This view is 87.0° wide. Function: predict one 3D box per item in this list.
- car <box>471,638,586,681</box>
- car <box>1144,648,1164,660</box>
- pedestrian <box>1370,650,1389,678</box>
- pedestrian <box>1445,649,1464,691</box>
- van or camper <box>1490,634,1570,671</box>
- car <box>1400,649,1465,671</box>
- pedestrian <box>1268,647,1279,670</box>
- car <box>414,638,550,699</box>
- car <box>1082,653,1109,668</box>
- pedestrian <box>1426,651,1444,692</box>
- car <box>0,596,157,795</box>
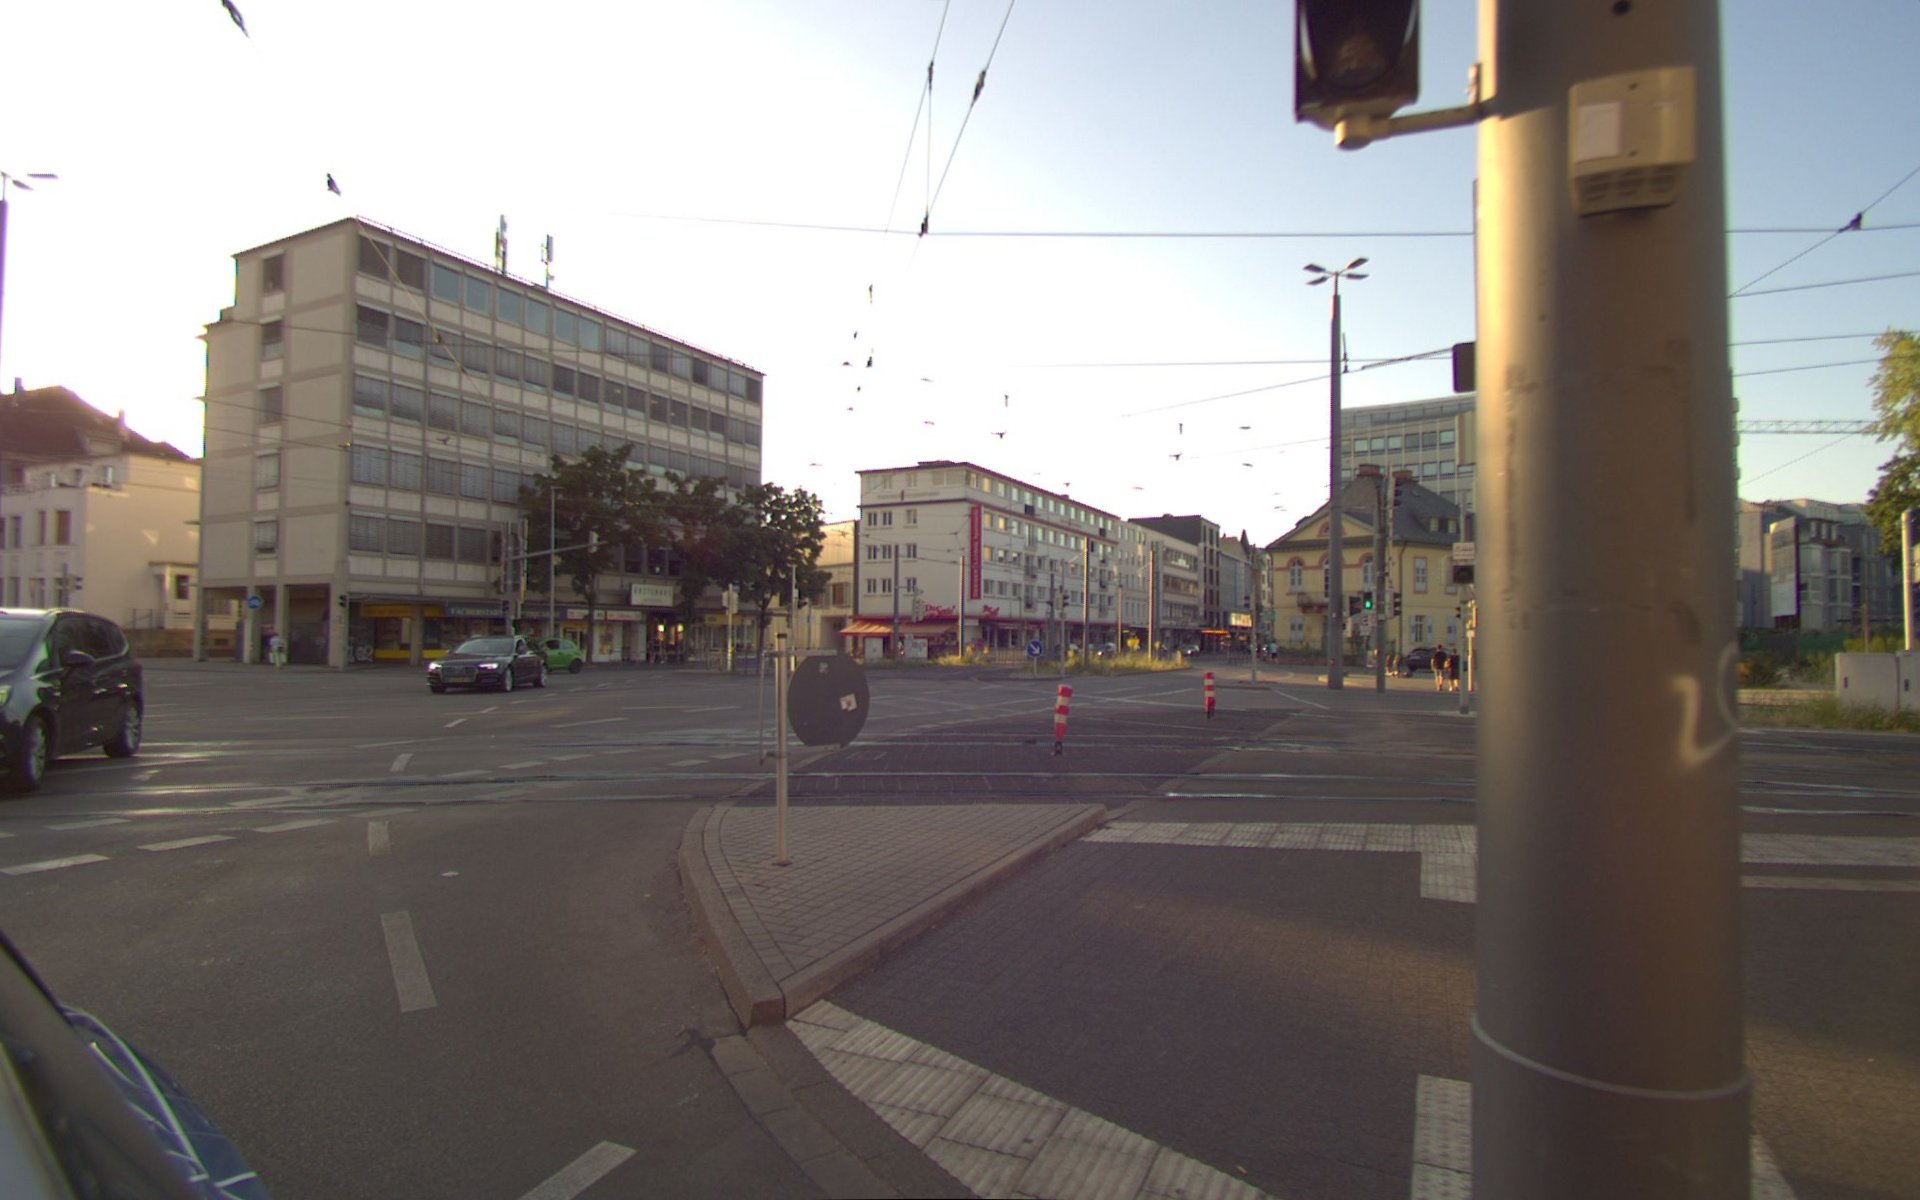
[{"bbox_3d":[-16.728,2.275,39.438,1.738,1.578,3.991,-1,-3,24],"label":"car"},{"bbox_3d":[21.756,6.094,113.584,1.557,1.286,3.396,-1,-3,23],"label":"car"},{"bbox_3d":[20.573,3.123,49.668,0.580,1.351,0.657,1,-1,-23],"label":"pedestrian"},{"bbox_3d":[18.370,2.599,37.581,0.587,1.522,0.649,-1,-4,27],"label":"pedestrian"},{"bbox_3d":[37.376,3.413,66.367,5.027,2.319,2.006,1,-3,-26],"label":"van or camper"},{"bbox_3d":[28.574,3.639,61.180,3.526,1.286,1.858,2,-3,-29],"label":"car"},{"bbox_3d":[20.851,3.882,67.339,0.588,1.522,0.648,-1,-4,29],"label":"pedestrian"},{"bbox_3d":[-12.089,1.700,25.918,1.823,1.419,4.230,1,-3,-6],"label":"car"},{"bbox_3d":[12.147,5.388,90.447,1.557,1.286,3.396,-1,-3,23],"label":"car"},{"bbox_3d":[17.891,2.677,38.127,0.587,1.522,0.649,-1,-4,27],"label":"pedestrian"},{"bbox_3d":[-9.426,0.838,9.599,1.770,1.631,4.401,1,-3,-24],"label":"car"}]
